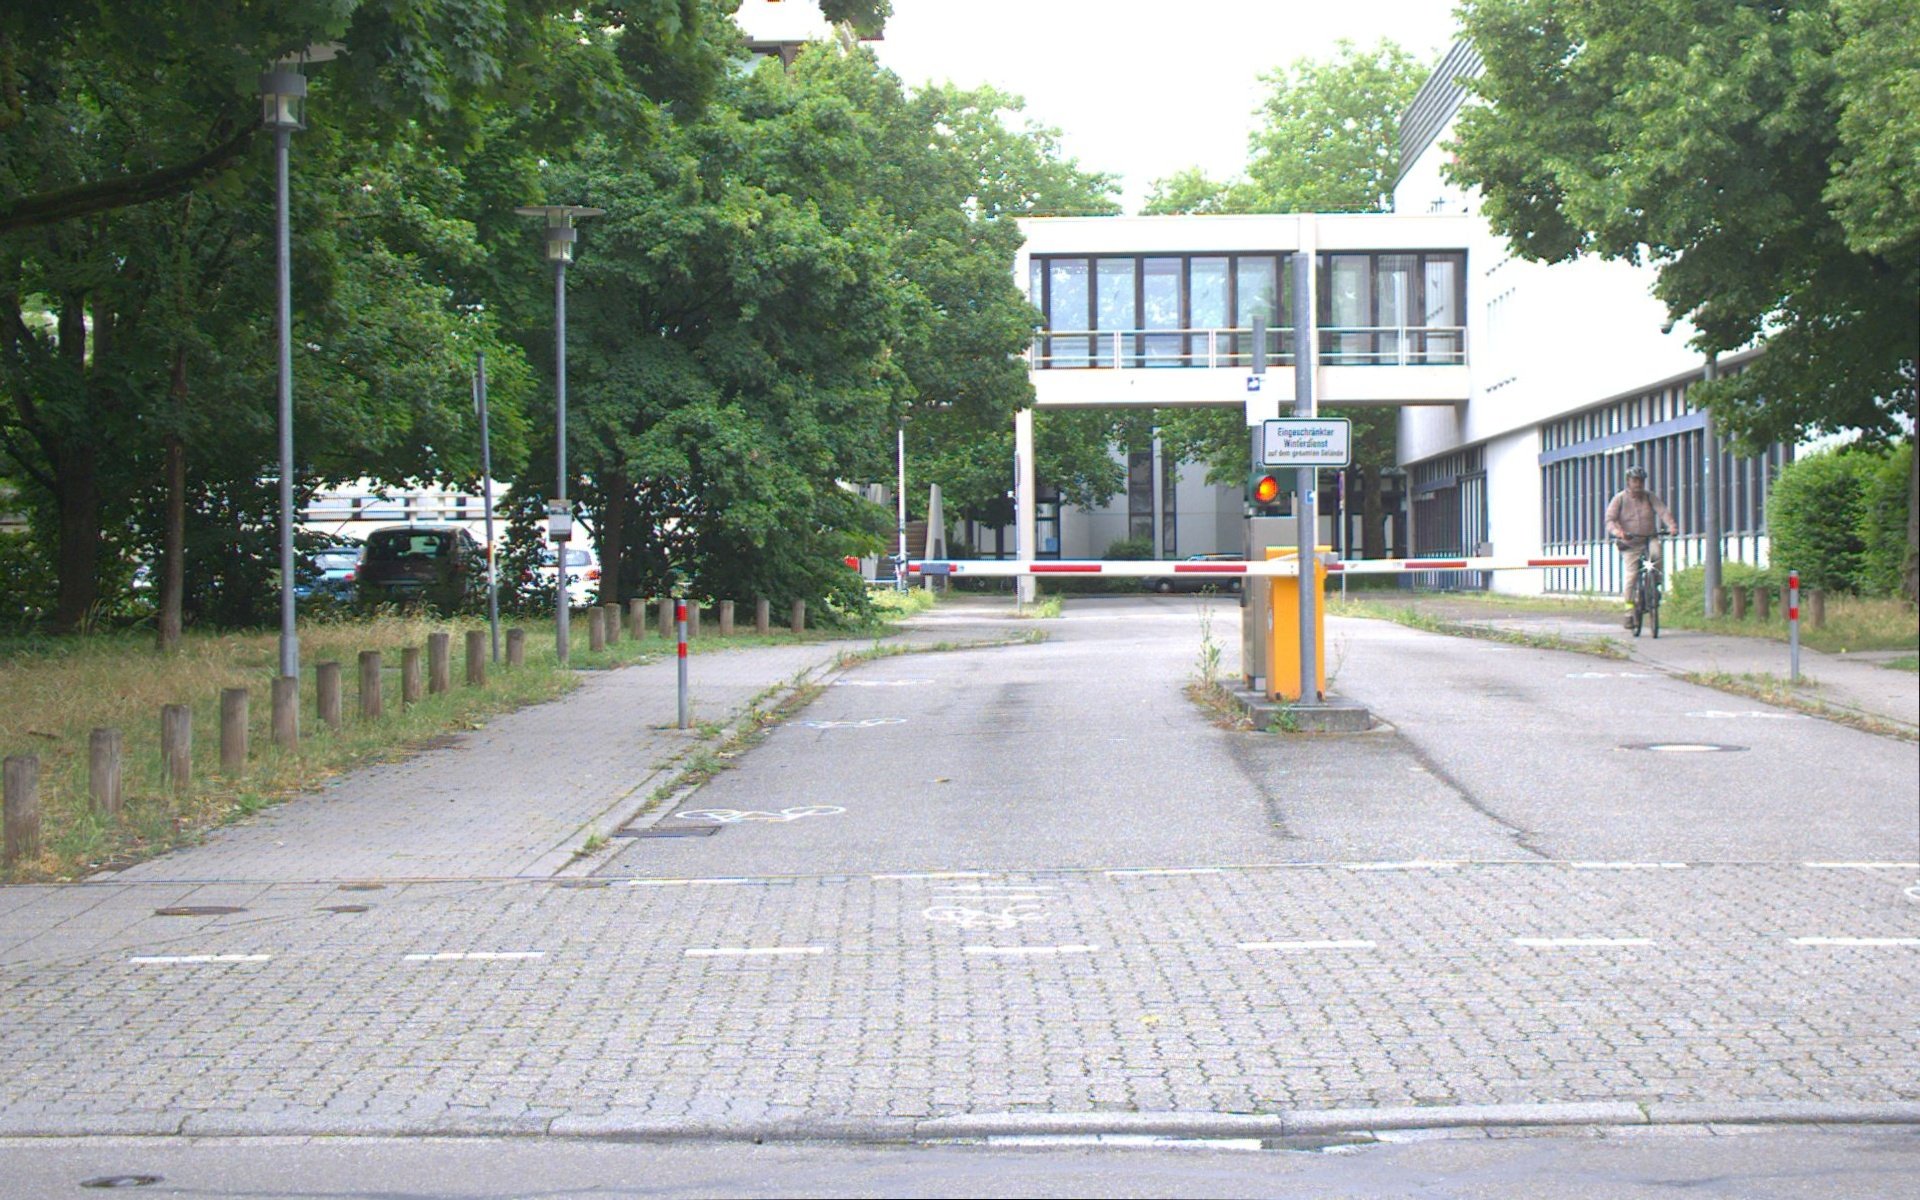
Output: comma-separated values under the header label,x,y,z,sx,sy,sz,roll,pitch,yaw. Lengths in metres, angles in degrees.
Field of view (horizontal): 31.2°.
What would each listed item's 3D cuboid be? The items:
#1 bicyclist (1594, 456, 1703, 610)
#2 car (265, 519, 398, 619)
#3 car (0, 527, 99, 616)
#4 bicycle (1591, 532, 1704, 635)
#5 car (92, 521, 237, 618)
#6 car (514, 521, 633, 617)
label,x,y,z,sx,sy,sz,roll,pitch,yaw
bicyclist,7.488,-0.732,37.424,1.017,1.639,0.923,0,1,2
car,-11.889,-0.562,65.261,1.993,1.788,4.000,-1,-1,-3
car,-17.720,-0.547,65.135,1.993,1.612,4.001,-1,1,-3
bicycle,7.487,-0.193,37.529,0.866,1.071,2.142,0,1,2
car,-15.000,-0.554,65.003,1.993,1.722,4.000,-1,-1,-3
car,-7.293,-0.570,65.217,1.993,1.756,4.000,-1,0,-3
